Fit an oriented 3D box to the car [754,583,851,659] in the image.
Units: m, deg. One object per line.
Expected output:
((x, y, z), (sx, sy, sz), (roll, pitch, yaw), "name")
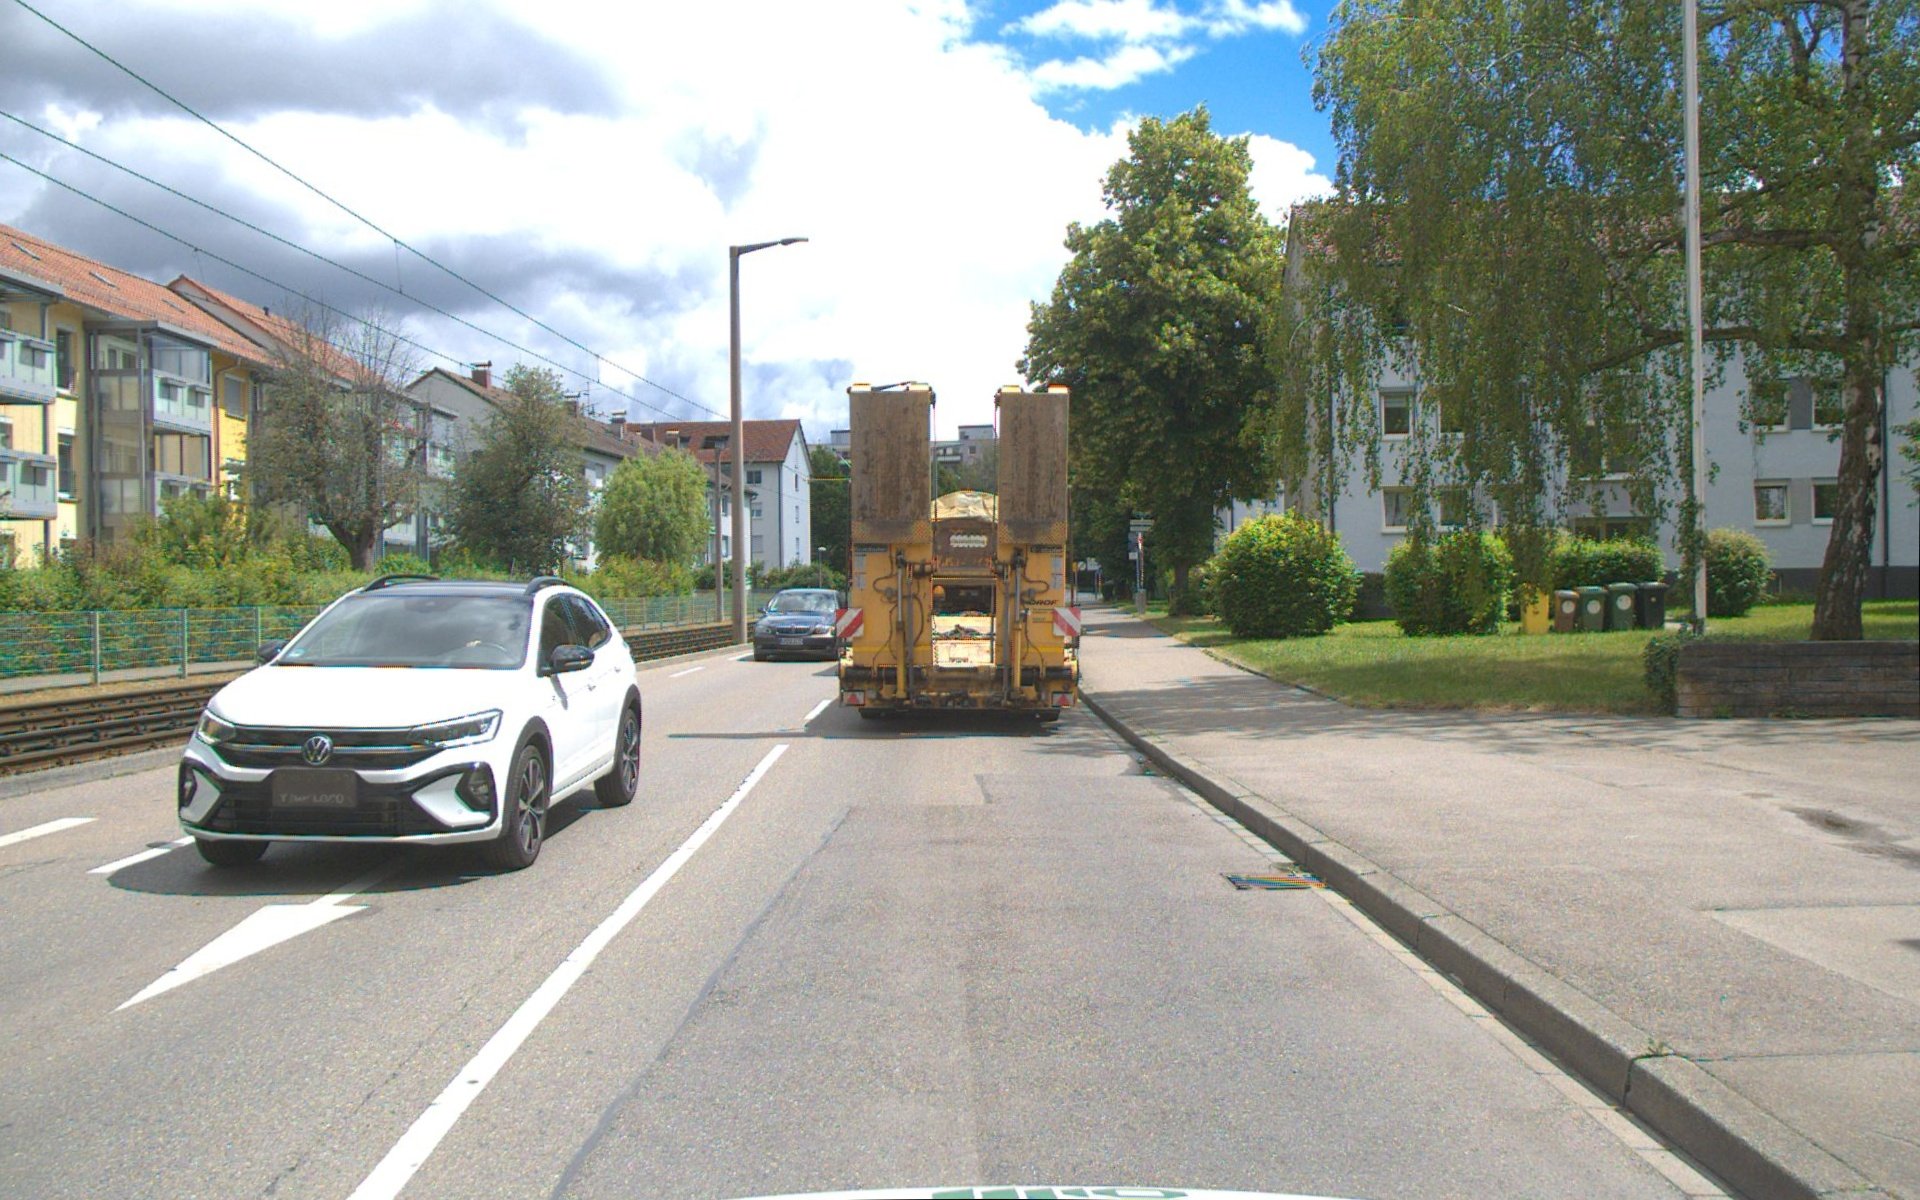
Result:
((-3.193, 0.394, 34.208), (1.595, 1.457, 4.167), (0, 1, 0), "car")

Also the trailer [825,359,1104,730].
((-0.041, -0.605, 22.893), (2.770, 3.709, 12.352), (1, 0, -1), "trailer")

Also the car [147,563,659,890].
((-3.060, 0.599, 10.006), (1.724, 1.579, 4.000), (0, 0, 0), "car")

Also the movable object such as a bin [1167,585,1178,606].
((9.905, -0.211, 77.096), (0.485, 0.971, 0.580), (-2, 0, 4), "movable object such as a bin")
